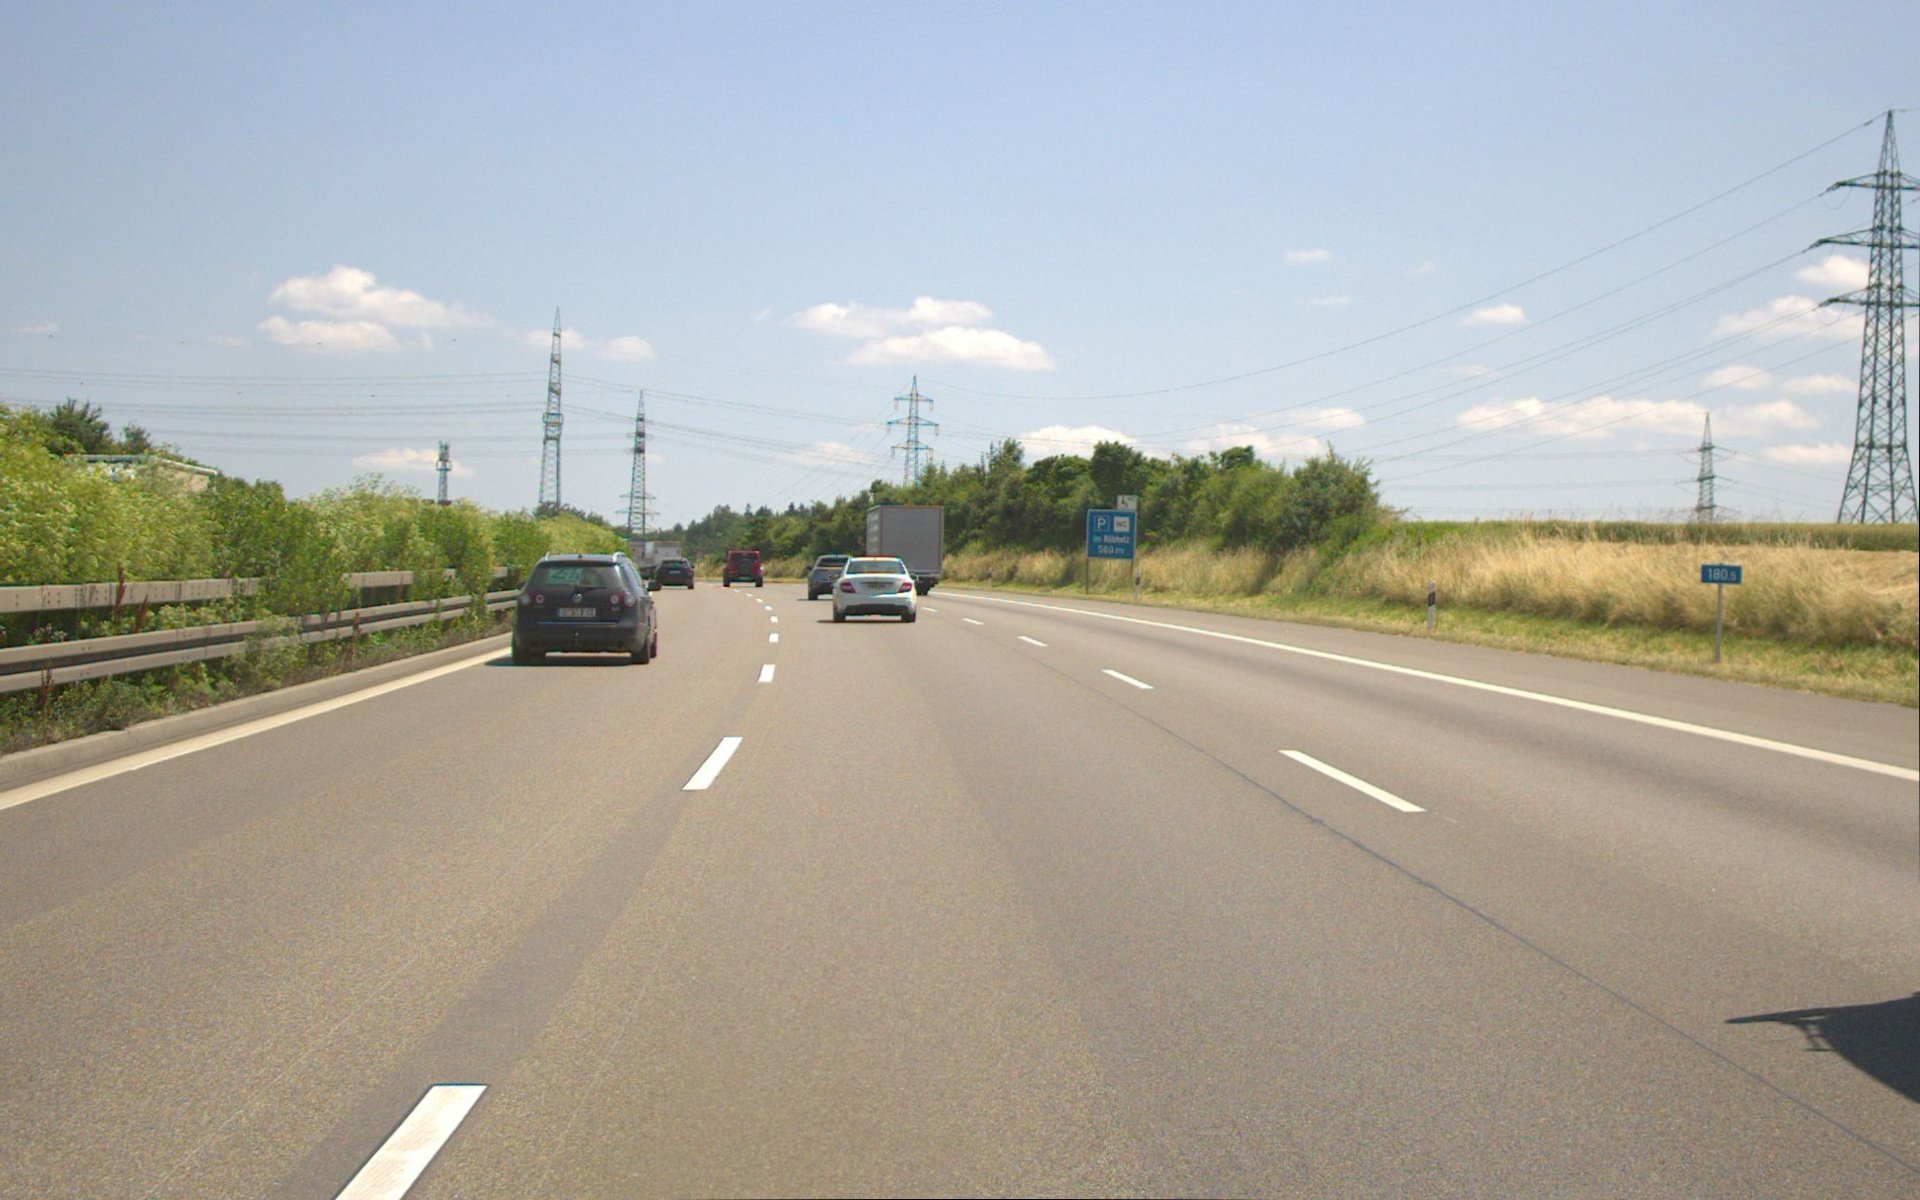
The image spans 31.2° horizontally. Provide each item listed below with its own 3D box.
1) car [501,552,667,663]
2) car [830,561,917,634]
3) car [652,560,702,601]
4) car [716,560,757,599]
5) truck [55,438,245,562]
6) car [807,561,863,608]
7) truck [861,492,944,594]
[{"bbox_3d":[-5.004,0.071,46.227,1.756,1.424,4.000,0,1,0],"label":"car"},{"bbox_3d":[-1.918,-0.079,75.644,1.819,1.535,3.915,0,1,-3],"label":"car"},{"bbox_3d":[-12.928,-0.909,157.184,1.993,1.853,4.000,1,1,-1],"label":"car"},{"bbox_3d":[-11.227,-1.057,172.539,1.901,1.919,4.001,0,1,-5],"label":"car"},{"bbox_3d":[-24.754,-2.937,106.064,2.673,3.506,17.041,0,1,-3],"label":"truck"},{"bbox_3d":[-4.200,-0.548,115.793,1.838,1.535,3.915,0,1,-2],"label":"car"},{"bbox_3d":[-2.363,-2.243,139.162,3.221,3.911,9.061,1,0,-1],"label":"truck"}]
